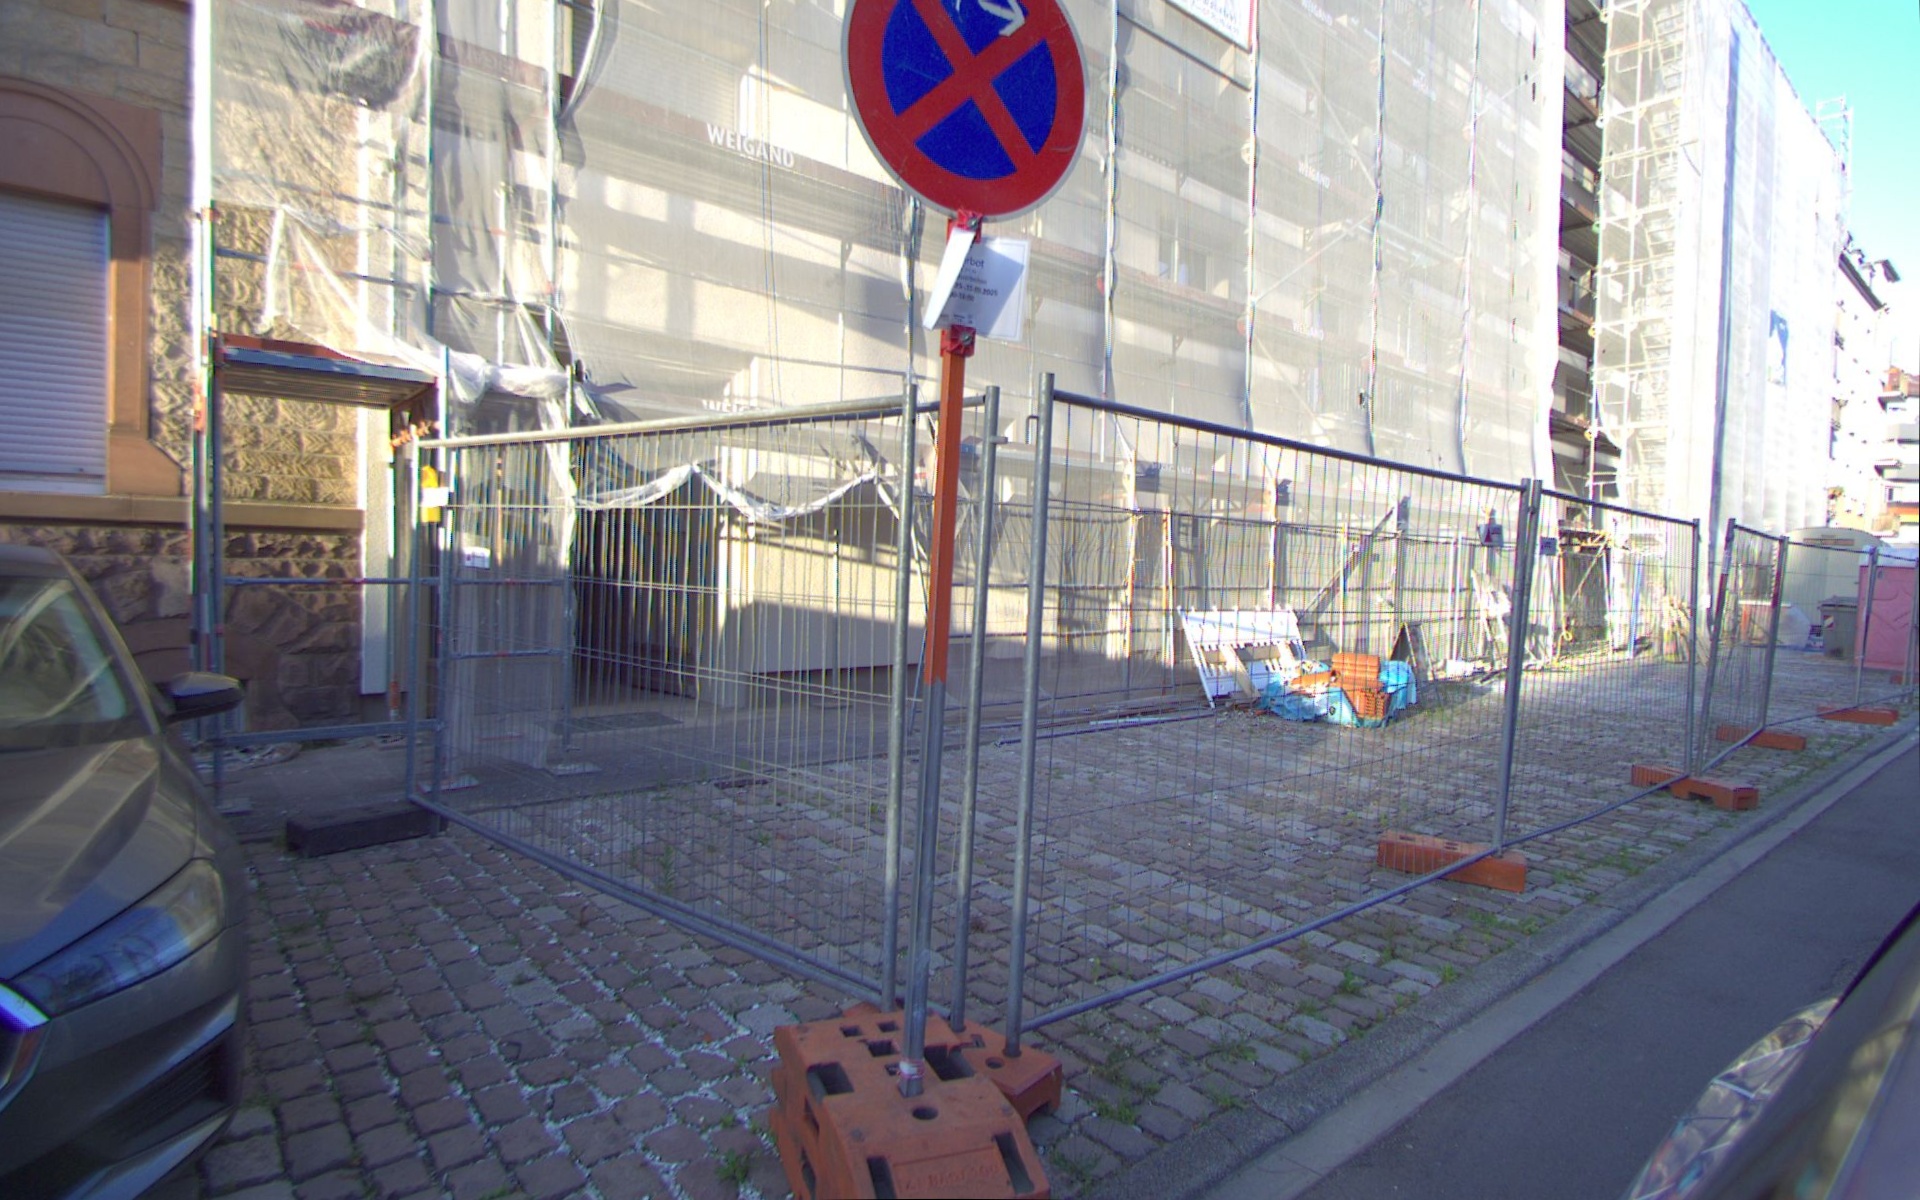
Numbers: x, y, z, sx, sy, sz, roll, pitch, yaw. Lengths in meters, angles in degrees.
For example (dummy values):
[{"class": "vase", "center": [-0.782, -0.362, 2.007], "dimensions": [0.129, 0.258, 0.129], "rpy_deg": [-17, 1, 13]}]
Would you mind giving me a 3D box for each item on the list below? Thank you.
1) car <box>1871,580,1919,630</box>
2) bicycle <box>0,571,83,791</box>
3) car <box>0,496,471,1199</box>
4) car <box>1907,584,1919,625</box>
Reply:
[{"class": "car", "center": [33.418, 0.201, 33.833], "dimensions": [1.838, 1.635, 4.164], "rpy_deg": [0, 2, -39]}, {"class": "bicycle", "center": [-5.850, 0.436, 5.185], "dimensions": [0.630, 1.183, 2.003], "rpy_deg": [1, 1, 43]}, {"class": "car", "center": [-3.140, 0.464, 2.873], "dimensions": [1.986, 1.533, 3.992], "rpy_deg": [-1, 5, -44]}, {"class": "car", "center": [40.675, 0.241, 40.459], "dimensions": [1.871, 1.658, 3.992], "rpy_deg": [0, 2, -43]}]
